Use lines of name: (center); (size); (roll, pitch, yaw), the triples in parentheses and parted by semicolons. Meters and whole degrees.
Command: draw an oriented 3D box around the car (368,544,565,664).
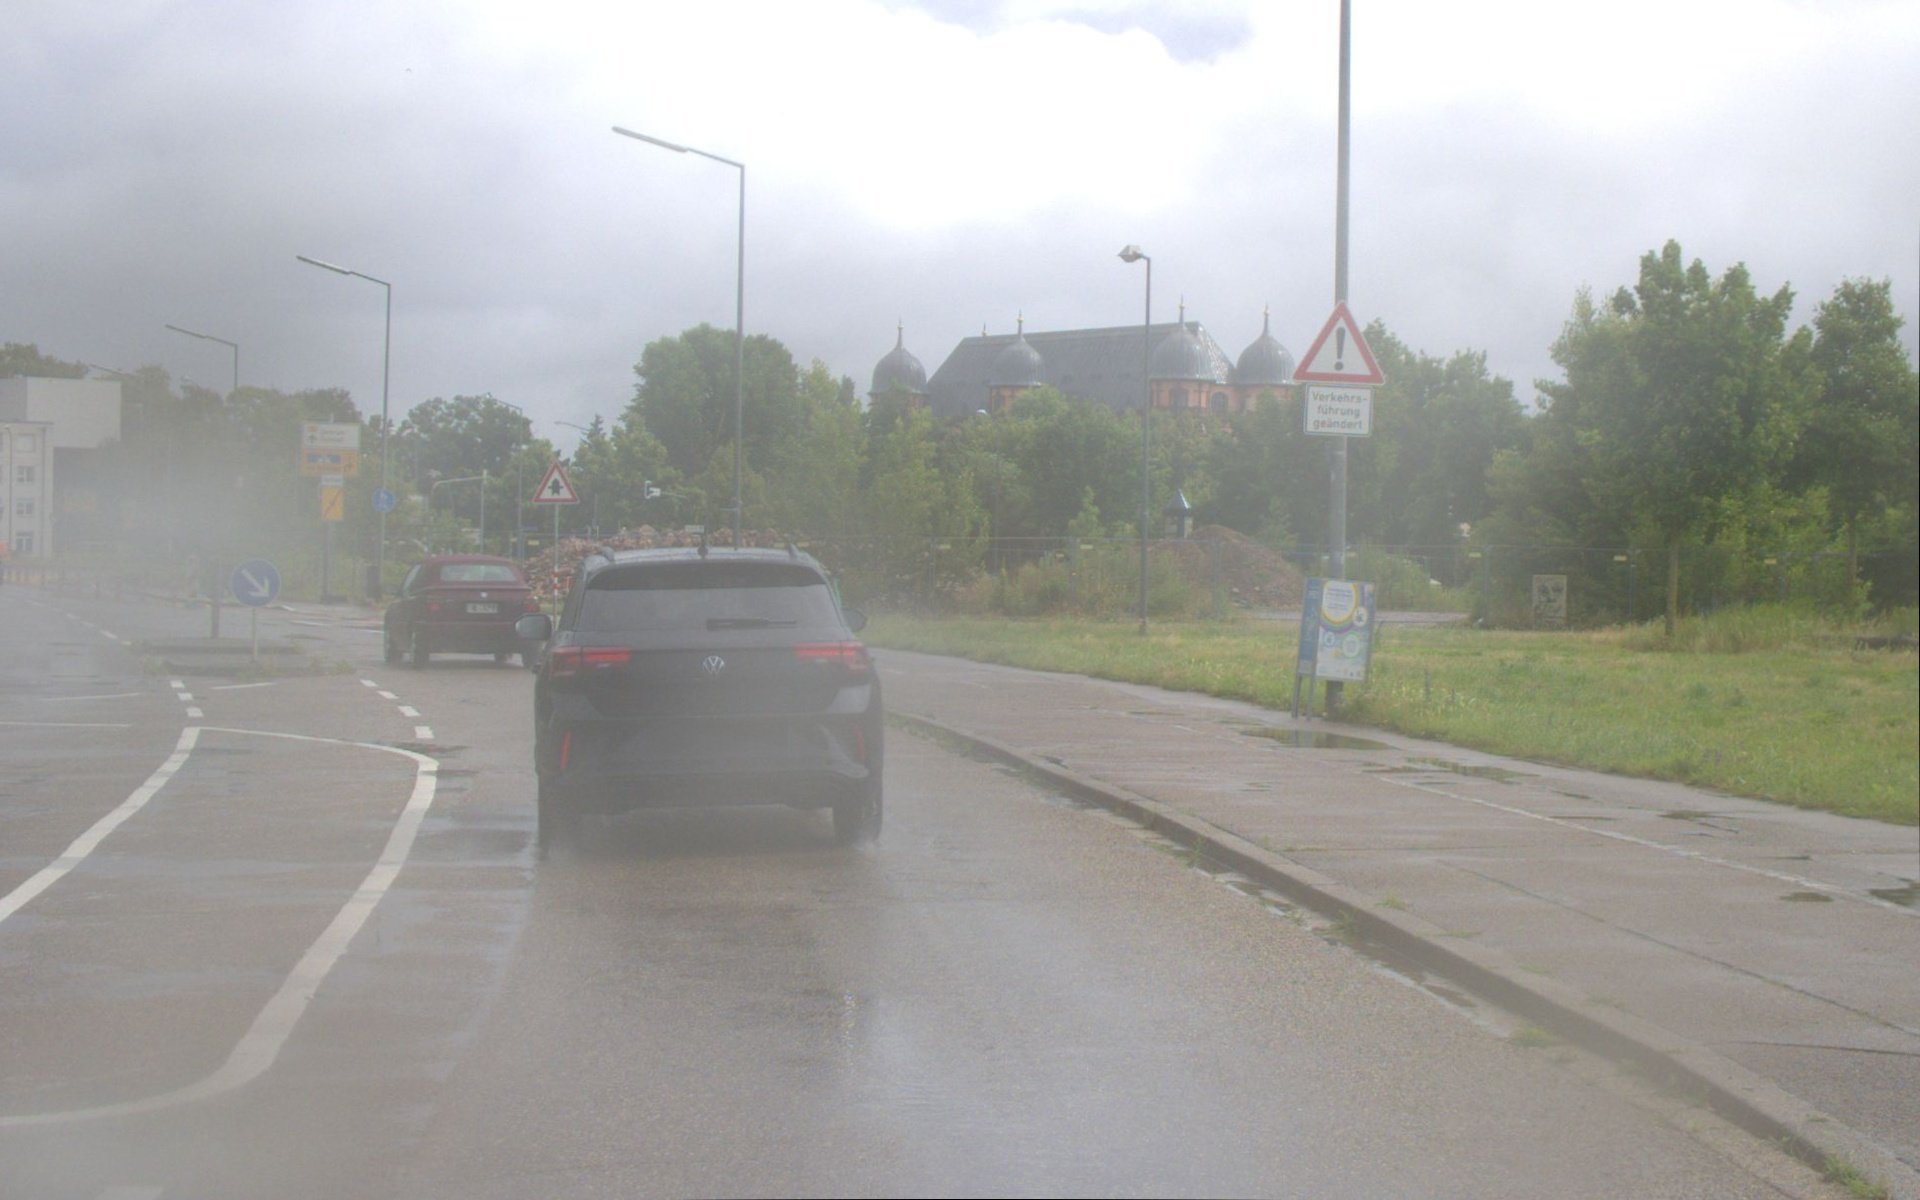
car: (-6.424, 0.044, 44.392); (1.841, 1.437, 4.001); (-2, 0, -18)

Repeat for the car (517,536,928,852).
car: (-1.356, 0.421, 18.784); (1.986, 1.515, 4.001); (-1, 1, -6)
